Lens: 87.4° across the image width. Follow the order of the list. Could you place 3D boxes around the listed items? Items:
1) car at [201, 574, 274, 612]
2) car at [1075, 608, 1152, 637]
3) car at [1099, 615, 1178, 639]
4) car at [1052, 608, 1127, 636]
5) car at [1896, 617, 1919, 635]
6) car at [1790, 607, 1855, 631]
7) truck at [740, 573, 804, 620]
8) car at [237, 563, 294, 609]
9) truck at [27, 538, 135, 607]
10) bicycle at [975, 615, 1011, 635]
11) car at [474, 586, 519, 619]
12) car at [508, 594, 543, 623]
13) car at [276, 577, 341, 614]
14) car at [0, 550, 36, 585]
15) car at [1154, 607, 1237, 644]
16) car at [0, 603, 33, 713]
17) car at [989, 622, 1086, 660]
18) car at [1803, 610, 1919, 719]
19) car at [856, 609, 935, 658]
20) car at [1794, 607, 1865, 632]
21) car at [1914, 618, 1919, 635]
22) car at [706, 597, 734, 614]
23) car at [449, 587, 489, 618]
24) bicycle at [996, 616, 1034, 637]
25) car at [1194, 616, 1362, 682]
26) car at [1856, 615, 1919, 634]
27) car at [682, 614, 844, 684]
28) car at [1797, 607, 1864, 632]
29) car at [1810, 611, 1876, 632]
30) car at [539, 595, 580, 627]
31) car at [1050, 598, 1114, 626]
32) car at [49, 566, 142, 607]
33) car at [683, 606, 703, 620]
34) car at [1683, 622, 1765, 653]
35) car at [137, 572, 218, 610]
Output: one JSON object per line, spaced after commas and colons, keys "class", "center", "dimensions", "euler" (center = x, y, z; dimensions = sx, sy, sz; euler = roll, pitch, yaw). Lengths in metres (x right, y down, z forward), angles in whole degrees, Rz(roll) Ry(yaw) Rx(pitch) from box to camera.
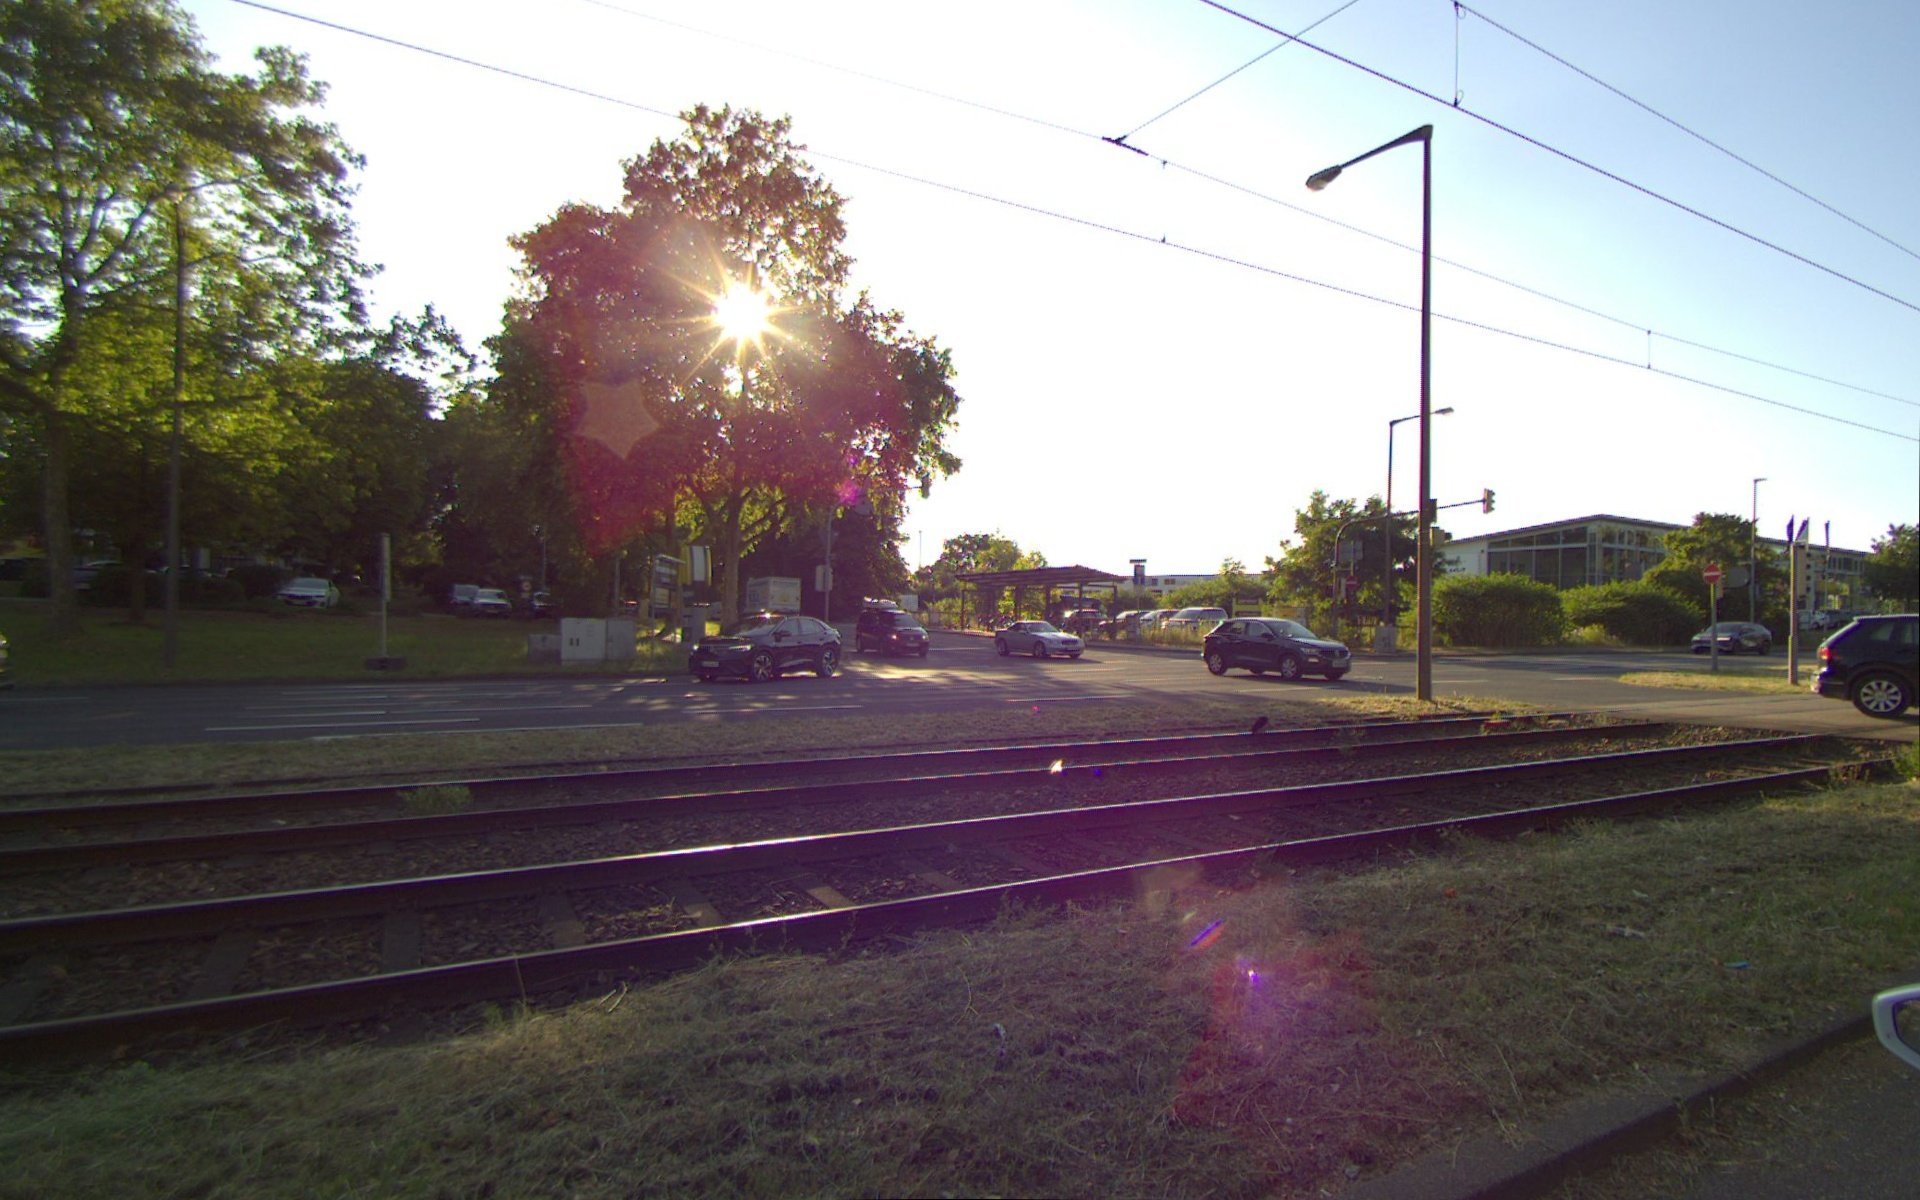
{"class": "car", "center": [-32.096, -0.314, 44.760], "dimensions": [1.916, 1.530, 4.071], "euler": [2, 0, -26]}
{"class": "car", "center": [8.838, 1.288, 57.802], "dimensions": [4.123, 1.604, 1.853], "euler": [1, 0, -30]}
{"class": "car", "center": [9.957, 1.491, 55.871], "dimensions": [4.123, 1.284, 1.853], "euler": [1, 0, -30]}
{"class": "car", "center": [7.734, 1.295, 59.997], "dimensions": [4.123, 1.604, 1.968], "euler": [1, 0, -30]}
{"class": "car", "center": [88.400, 2.396, 91.746], "dimensions": [1.725, 1.642, 3.962], "euler": [1, 0, -34]}
{"class": "car", "center": [69.343, 1.517, 80.831], "dimensions": [3.940, 1.840, 1.735], "euler": [1, 0, 40]}
{"class": "truck", "center": [-15.029, -0.294, 79.792], "dimensions": [2.782, 3.520, 8.291], "euler": [1, 0, -27]}
{"class": "car", "center": [-37.279, -0.744, 54.011], "dimensions": [2.138, 2.334, 4.369], "euler": [2, 0, -31]}
{"class": "truck", "center": [-44.495, -1.335, 51.068], "dimensions": [2.468, 3.209, 6.187], "euler": [2, 0, -26]}
{"class": "bicycle", "center": [1.945, 1.456, 59.052], "dimensions": [2.004, 1.119, 0.777], "euler": [2, 0, -30]}
{"class": "car", "center": [-22.917, 0.116, 49.592], "dimensions": [1.916, 1.530, 4.071], "euler": [2, 0, -26]}
{"class": "car", "center": [-26.216, 0.510, 60.703], "dimensions": [1.836, 1.637, 4.036], "euler": [2, 0, -23]}
{"class": "car", "center": [-29.415, -0.214, 45.442], "dimensions": [1.916, 1.530, 4.071], "euler": [2, 0, -26]}
{"class": "car", "center": [-53.842, -1.875, 56.385], "dimensions": [2.274, 1.875, 5.220], "euler": [2, 0, -36]}
{"class": "car", "center": [12.380, 1.331, 52.739], "dimensions": [4.123, 1.846, 1.853], "euler": [1, 0, -30]}
{"class": "car", "center": [-15.800, 0.820, 14.042], "dimensions": [3.934, 1.578, 1.740], "euler": [1, -2, -36]}
{"class": "car", "center": [2.756, 1.448, 36.493], "dimensions": [1.595, 1.311, 3.951], "euler": [1, -2, -30]}
{"class": "car", "center": [15.812, 0.999, 15.344], "dimensions": [1.865, 1.656, 4.315], "euler": [1, -1, -42]}
{"class": "car", "center": [-2.455, 1.210, 37.379], "dimensions": [1.815, 1.656, 4.292], "euler": [1, 0, -19]}
{"class": "car", "center": [65.197, 1.451, 75.374], "dimensions": [3.940, 1.727, 1.735], "euler": [1, 0, 40]}
{"class": "car", "center": [91.316, 2.513, 93.025], "dimensions": [1.725, 1.642, 3.962], "euler": [1, 0, -34]}
{"class": "car", "center": [-22.700, 0.498, 94.977], "dimensions": [1.711, 1.603, 4.028], "euler": [1, 0, -27]}
{"class": "car", "center": [-28.555, 0.133, 58.498], "dimensions": [1.836, 1.637, 4.036], "euler": [2, 0, -23]}
{"class": "bicycle", "center": [3.087, 1.479, 56.416], "dimensions": [2.004, 1.119, 0.777], "euler": [2, 0, -30]}
{"class": "car", "center": [8.221, 1.215, 26.298], "dimensions": [1.693, 1.581, 4.131], "euler": [1, -1, -31]}
{"class": "car", "center": [81.784, 2.163, 88.513], "dimensions": [1.728, 1.576, 3.957], "euler": [1, 0, -37]}
{"class": "car", "center": [-4.741, 1.173, 24.852], "dimensions": [1.704, 1.565, 4.331], "euler": [0, -2, 25]}
{"class": "car", "center": [68.381, 1.499, 78.986], "dimensions": [3.940, 1.840, 1.735], "euler": [1, 0, 40]}
{"class": "car", "center": [72.007, 1.756, 81.947], "dimensions": [3.940, 1.577, 1.735], "euler": [1, 0, 40]}
{"class": "car", "center": [-20.422, 0.528, 51.141], "dimensions": [1.604, 1.477, 3.878], "euler": [2, 0, -27]}
{"class": "car", "center": [9.305, 0.941, 76.668], "dimensions": [4.715, 2.041, 1.853], "euler": [1, 0, -30]}
{"class": "car", "center": [-36.070, -0.550, 42.024], "dimensions": [1.916, 1.530, 4.071], "euler": [2, 0, -26]}
{"class": "car", "center": [-33.377, 1.644, 125.450], "dimensions": [1.887, 1.602, 4.036], "euler": [2, 0, -21]}
{"class": "car", "center": [39.343, 1.897, 51.728], "dimensions": [4.120, 1.501, 1.854], "euler": [1, 0, -29]}
{"class": "car", "center": [-33.938, -0.388, 43.687], "dimensions": [1.916, 1.530, 4.071], "euler": [2, 0, -26]}
